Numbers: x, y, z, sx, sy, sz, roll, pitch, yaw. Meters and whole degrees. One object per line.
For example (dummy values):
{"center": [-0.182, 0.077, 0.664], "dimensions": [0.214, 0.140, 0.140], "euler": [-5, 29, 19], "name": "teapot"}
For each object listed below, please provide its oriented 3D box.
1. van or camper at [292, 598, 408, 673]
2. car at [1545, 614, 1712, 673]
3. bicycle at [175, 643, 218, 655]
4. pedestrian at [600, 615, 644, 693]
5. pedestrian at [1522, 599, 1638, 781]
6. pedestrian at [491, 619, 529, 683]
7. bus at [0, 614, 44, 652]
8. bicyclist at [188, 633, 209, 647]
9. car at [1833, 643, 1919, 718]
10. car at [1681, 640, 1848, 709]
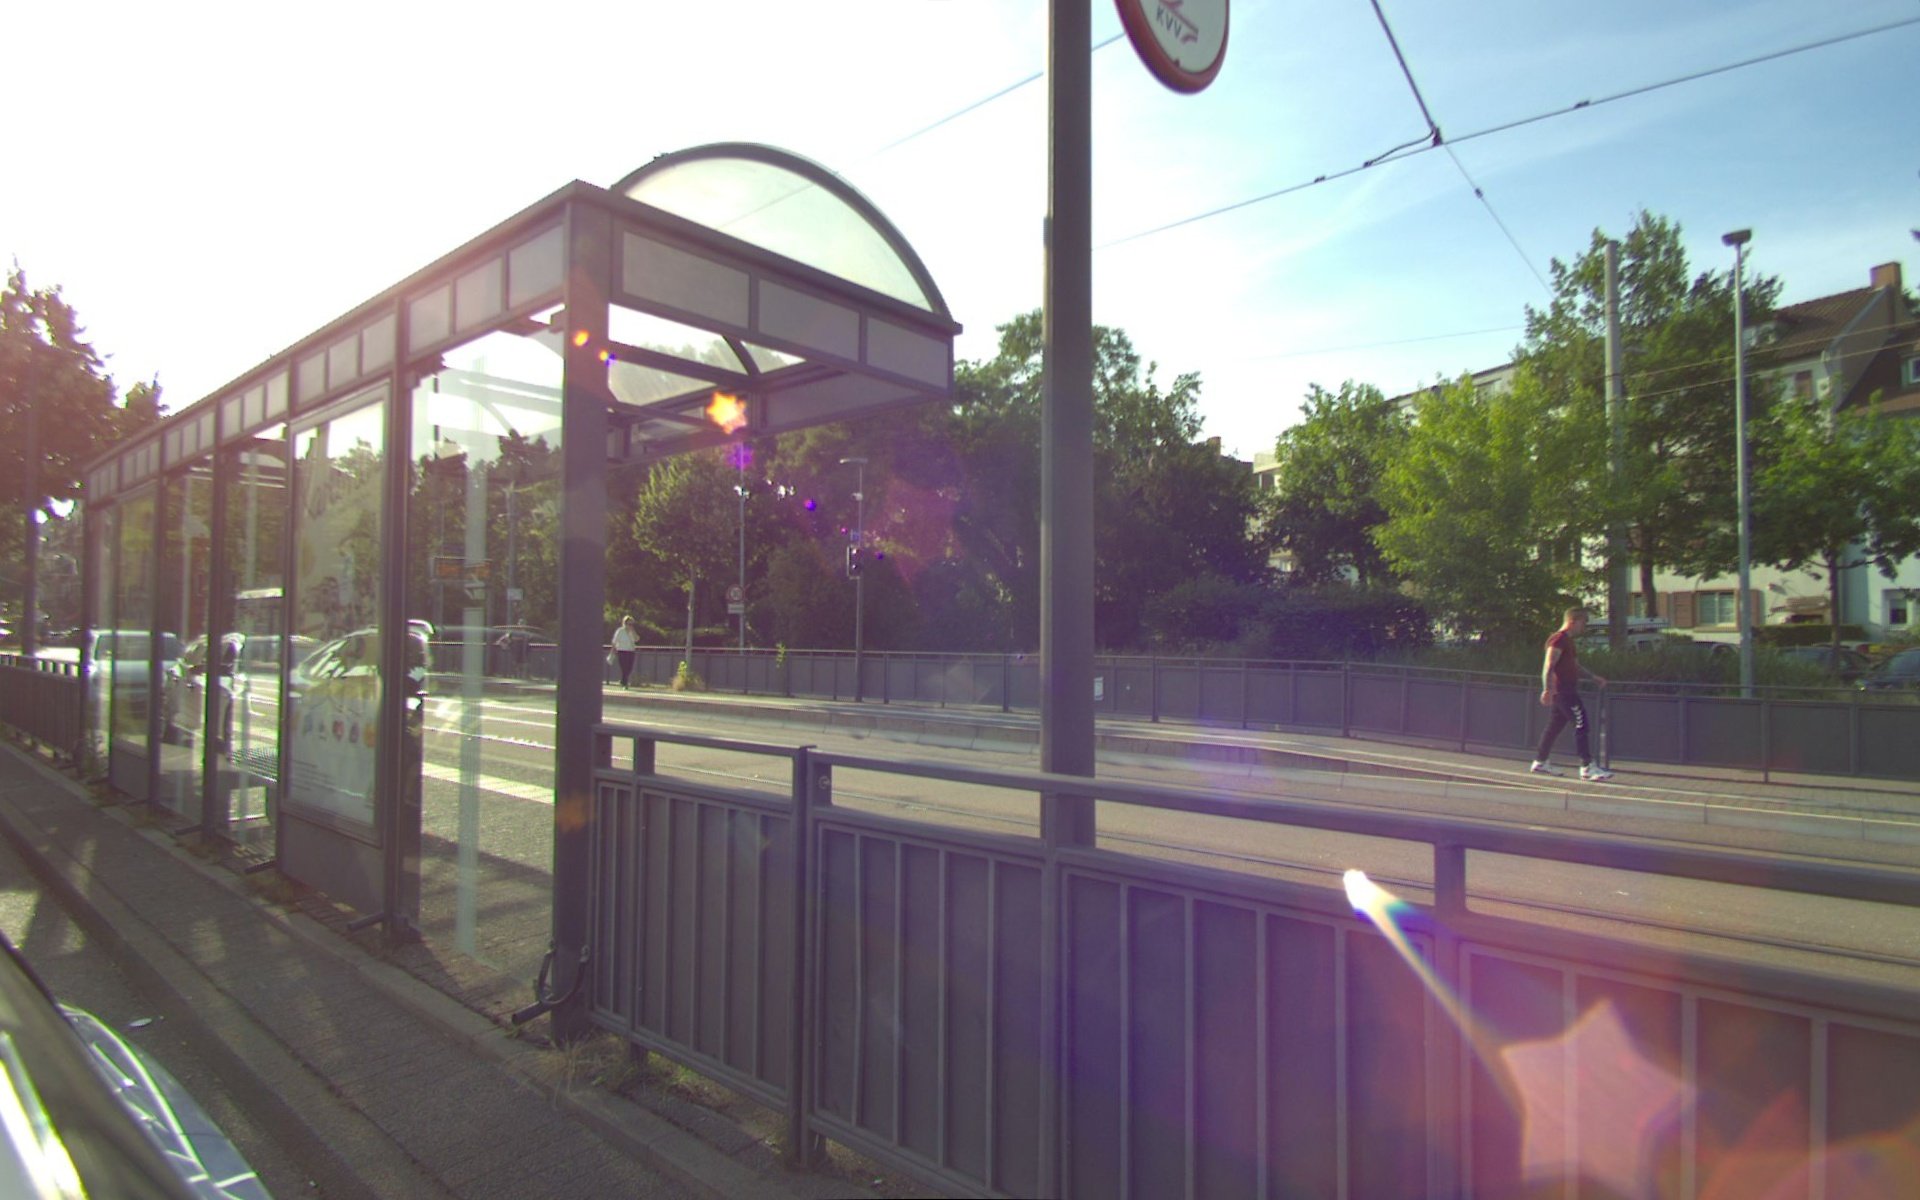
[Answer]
{"center": [-26.486, 1.469, 43.830], "dimensions": [6.408, 2.990, 2.494], "euler": [-1, 0, 41], "name": "van or camper"}
{"center": [18.108, 1.192, 27.448], "dimensions": [3.930, 1.497, 1.854], "euler": [1, -3, -22], "name": "car"}
{"center": [-58.191, 3.722, 77.141], "dimensions": [0.631, 0.888, 2.502], "euler": [-2, -3, 45], "name": "bicycle"}
{"center": [-7.540, 1.204, 22.571], "dimensions": [0.618, 1.697, 0.613], "euler": [-2, -6, 41], "name": "pedestrian"}
{"center": [6.070, 0.866, 9.920], "dimensions": [0.877, 1.697, 0.547], "euler": [-2, -6, 41], "name": "pedestrian"}
{"center": [-12.078, 1.371, 27.180], "dimensions": [0.618, 1.697, 0.613], "euler": [-2, -6, 41], "name": "pedestrian"}
{"center": [-88.661, 3.034, 95.410], "dimensions": [9.258, 3.461, 2.405], "euler": [-1, 0, 41], "name": "bus"}
{"center": [-58.113, 3.073, 77.245], "dimensions": [0.672, 1.032, 1.200], "euler": [-2, -3, 45], "name": "bicyclist"}
{"center": [19.637, 1.596, 20.618], "dimensions": [3.935, 1.409, 2.004], "euler": [2, -3, -37], "name": "car"}
{"center": [18.184, 1.619, 22.845], "dimensions": [3.935, 1.409, 2.004], "euler": [2, -3, -37], "name": "car"}
